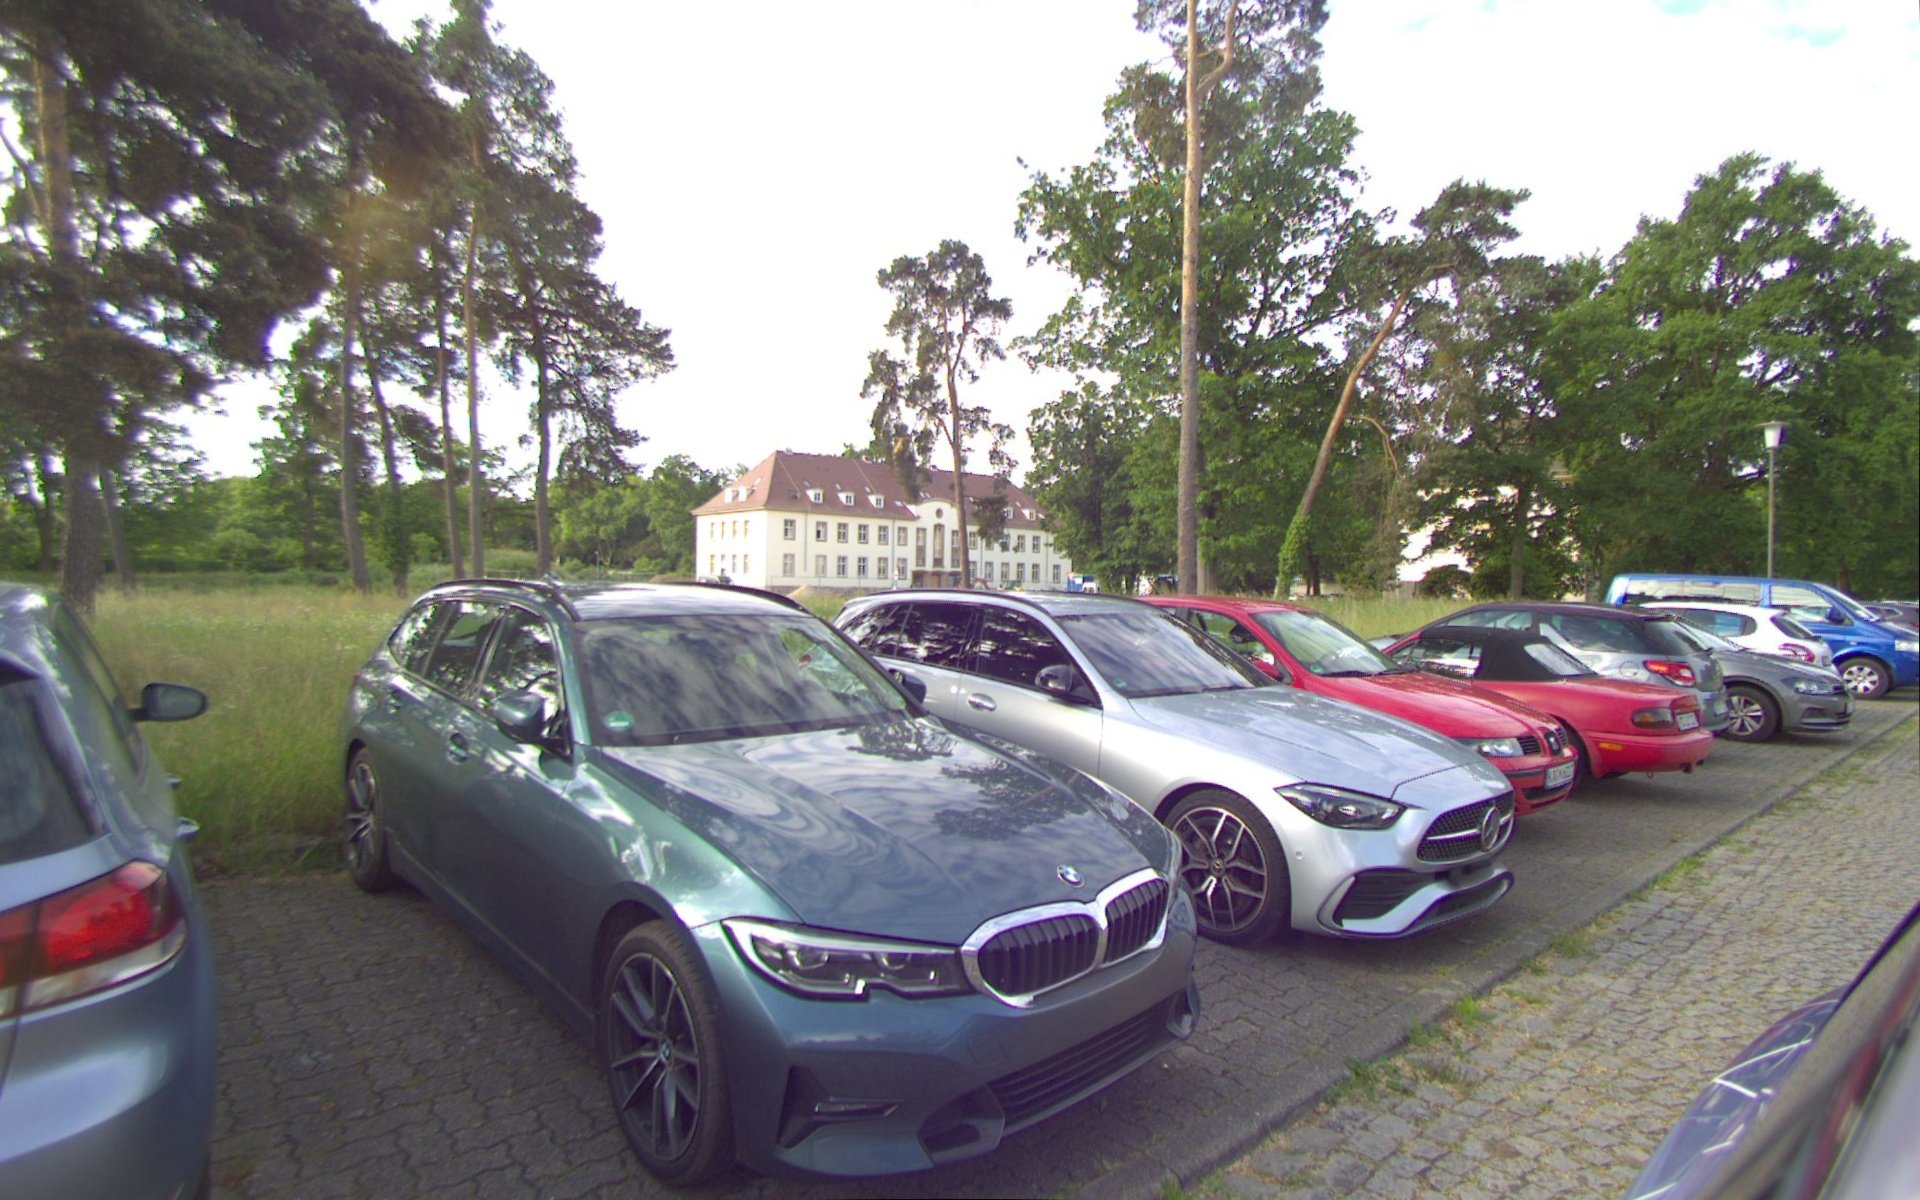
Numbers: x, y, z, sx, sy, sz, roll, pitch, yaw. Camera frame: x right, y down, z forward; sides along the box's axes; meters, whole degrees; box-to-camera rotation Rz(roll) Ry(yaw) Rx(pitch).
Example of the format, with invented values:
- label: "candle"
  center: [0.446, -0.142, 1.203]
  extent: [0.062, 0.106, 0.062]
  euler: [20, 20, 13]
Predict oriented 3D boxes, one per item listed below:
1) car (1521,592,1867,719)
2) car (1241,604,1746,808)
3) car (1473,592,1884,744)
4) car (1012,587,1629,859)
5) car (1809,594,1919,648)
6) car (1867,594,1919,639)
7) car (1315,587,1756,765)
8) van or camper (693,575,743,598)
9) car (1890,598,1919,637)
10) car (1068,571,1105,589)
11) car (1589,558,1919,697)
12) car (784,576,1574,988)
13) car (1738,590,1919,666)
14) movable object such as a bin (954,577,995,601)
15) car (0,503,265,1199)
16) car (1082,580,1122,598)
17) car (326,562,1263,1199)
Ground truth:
- label: "car"
  center: [10.408, 0.682, 14.578]
  extent: [1.553, 1.518, 3.761]
  euler: [0, 1, -39]
- label: "car"
  center: [4.436, 0.748, 8.814]
  extent: [1.579, 1.303, 3.554]
  euler: [2, 0, -40]
- label: "car"
  center: [8.548, 0.687, 12.315]
  extent: [1.613, 1.484, 3.781]
  euler: [0, 1, -39]
- label: "car"
  center: [2.418, 0.651, 7.663]
  extent: [1.689, 1.441, 4.116]
  euler: [0, 1, -40]
- label: "car"
  center: [28.247, 0.632, 30.585]
  extent: [1.555, 1.544, 3.831]
  euler: [0, 1, -44]
- label: "car"
  center: [36.110, 0.639, 37.240]
  extent: [1.551, 1.638, 3.840]
  euler: [0, 1, -36]
- label: "car"
  center: [6.018, 0.659, 10.939]
  extent: [1.576, 1.522, 3.835]
  euler: [0, 1, -41]
- label: "van or camper"
  center: [-24.903, -1.427, 103.867]
  extent: [6.061, 2.251, 1.969]
  euler: [2, 1, 43]
- label: "car"
  center: [39.729, 0.743, 40.198]
  extent: [1.642, 1.548, 3.840]
  euler: [0, 1, -36]
- label: "car"
  center: [15.234, -2.432, 121.865]
  extent: [3.925, 2.039, 2.220]
  euler: [0, 1, -36]
- label: "car"
  center: [14.417, 0.364, 18.098]
  extent: [2.024, 2.047, 4.954]
  euler: [0, 3, -40]
- label: "car"
  center: [0.877, 0.635, 5.937]
  extent: [1.736, 1.446, 4.333]
  euler: [0, 2, -42]
- label: "car"
  center: [20.775, 0.616, 23.725]
  extent: [1.555, 1.621, 3.831]
  euler: [1, 1, -44]
- label: "movable object such as a bin"
  center: [1.798, -1.293, 121.795]
  extent: [1.994, 2.802, 5.122]
  euler: [1, 1, 44]
- label: "car"
  center: [-3.061, 0.563, 2.550]
  extent: [1.614, 1.489, 3.847]
  euler: [0, 1, -43]
- label: "car"
  center: [14.466, -1.127, 103.176]
  extent: [3.865, 1.704, 1.848]
  euler: [0, 2, -38]
- label: "car"
  center: [-1.194, 0.617, 4.365]
  extent: [1.777, 1.502, 4.518]
  euler: [0, 1, -43]
